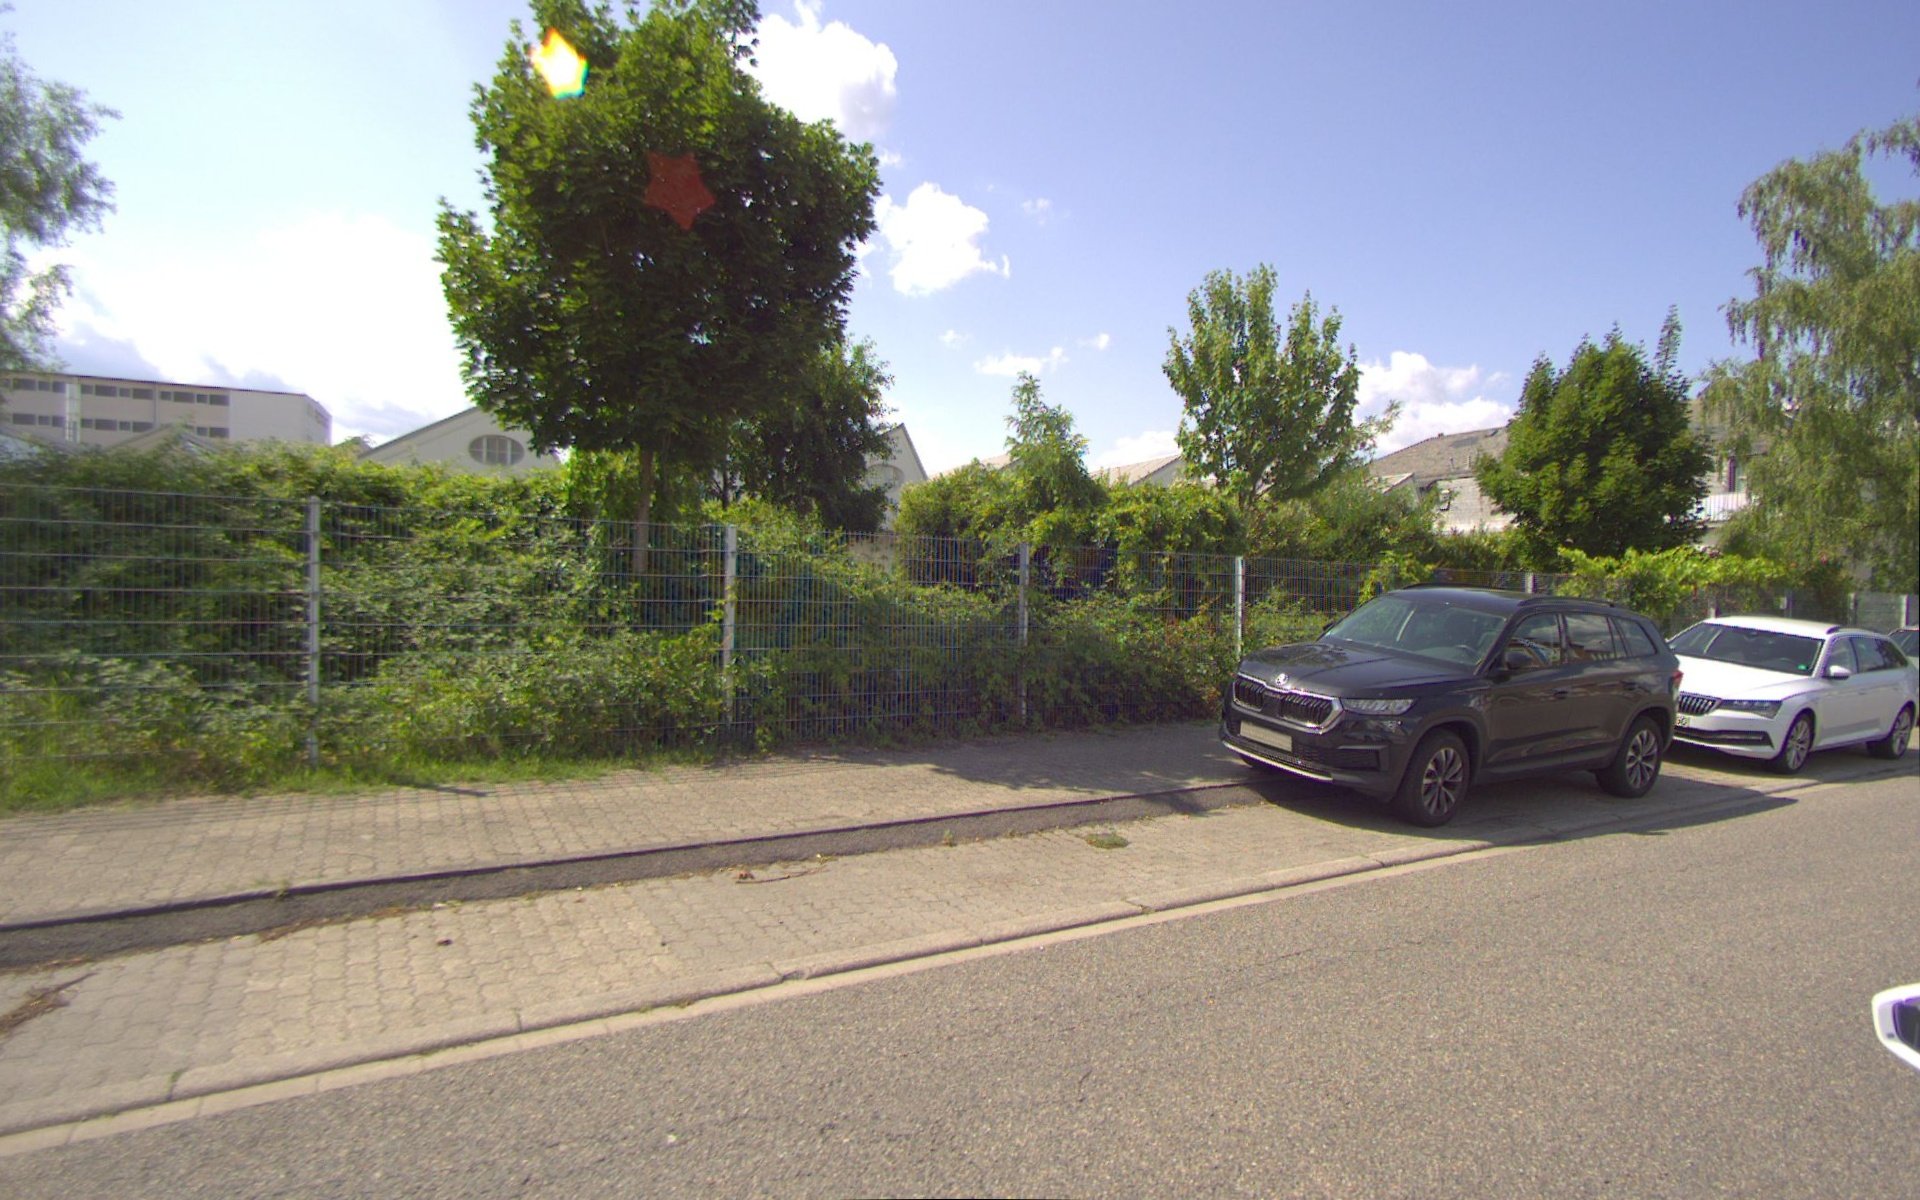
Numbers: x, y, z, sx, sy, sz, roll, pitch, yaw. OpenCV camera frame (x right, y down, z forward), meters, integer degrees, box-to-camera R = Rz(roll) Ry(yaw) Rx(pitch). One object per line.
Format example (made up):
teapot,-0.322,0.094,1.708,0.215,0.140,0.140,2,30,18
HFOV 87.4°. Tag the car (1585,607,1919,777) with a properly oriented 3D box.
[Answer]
car,9.425,0.931,11.689,4.732,1.616,1.691,1,0,-31

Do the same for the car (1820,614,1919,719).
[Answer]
car,16.180,1.034,16.514,4.607,1.547,1.785,1,0,-32

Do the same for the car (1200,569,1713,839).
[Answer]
car,4.326,0.704,8.531,4.582,1.769,1.602,1,3,-30
